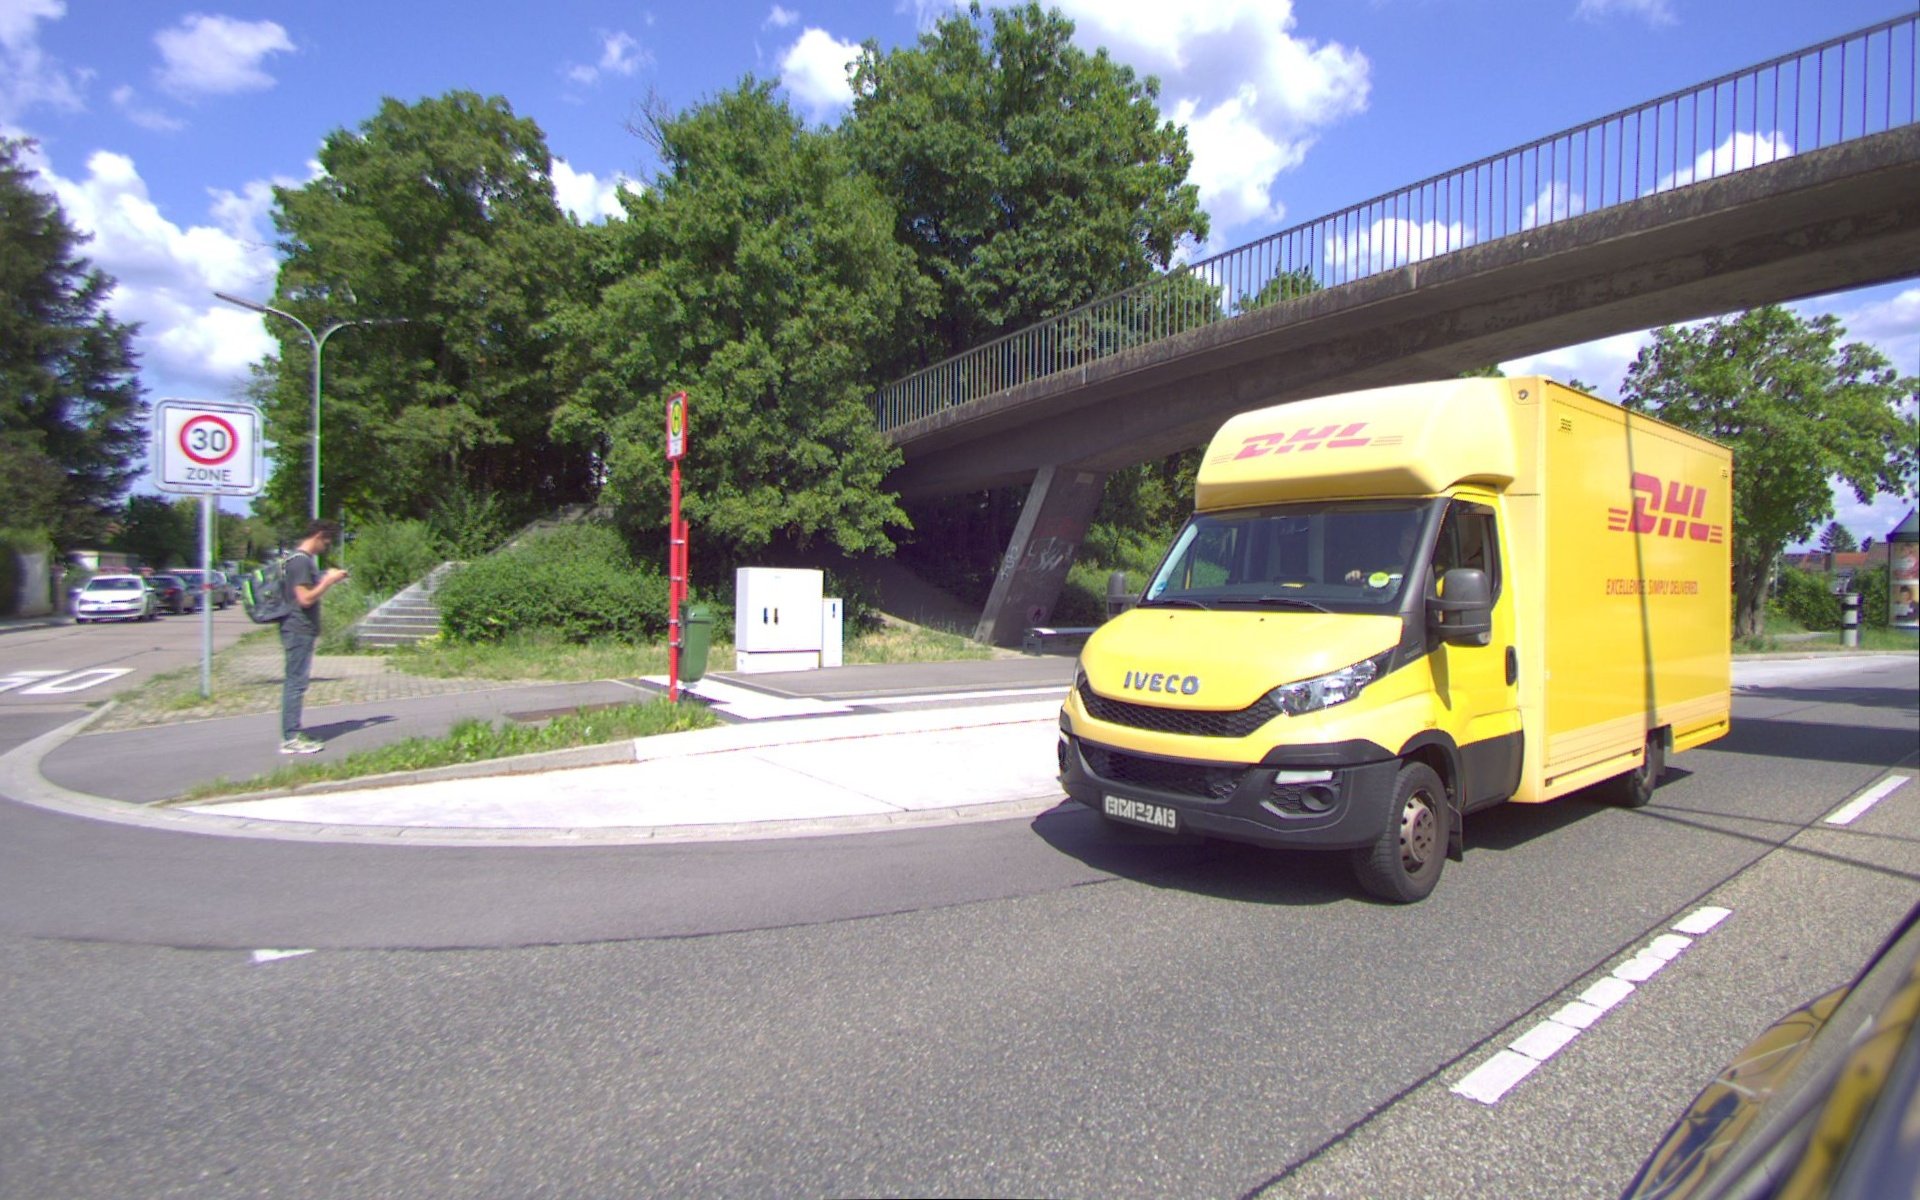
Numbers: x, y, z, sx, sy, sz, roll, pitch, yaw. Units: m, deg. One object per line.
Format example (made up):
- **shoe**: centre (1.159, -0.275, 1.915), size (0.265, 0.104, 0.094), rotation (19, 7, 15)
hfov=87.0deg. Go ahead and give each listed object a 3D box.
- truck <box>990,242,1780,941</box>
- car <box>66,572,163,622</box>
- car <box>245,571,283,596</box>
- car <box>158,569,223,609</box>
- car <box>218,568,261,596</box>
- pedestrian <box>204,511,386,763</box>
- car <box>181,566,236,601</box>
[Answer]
- **truck**: centre (3.885, -0.021, 7.674), size (7.886, 2.917, 2.268), rotation (0, -1, -41)
- **car**: centre (-26.029, -0.112, 31.263), size (1.648, 1.438, 3.669), rotation (0, 1, -30)
- **car**: centre (-44.603, -1.067, 64.899), size (1.648, 1.573, 3.669), rotation (0, 1, -30)
- **car**: centre (-31.480, -0.476, 41.481), size (1.648, 1.573, 3.669), rotation (0, 1, -30)
- **car**: centre (-41.553, -1.044, 58.440), size (1.648, 1.573, 3.669), rotation (0, 1, -30)
- **pedestrian**: centre (-5.315, 0.227, 8.089), size (1.069, 1.845, 0.956), rotation (-3, 4, -40)
- **car**: centre (-35.459, -0.782, 47.846), size (1.648, 1.573, 3.669), rotation (0, 1, -30)
